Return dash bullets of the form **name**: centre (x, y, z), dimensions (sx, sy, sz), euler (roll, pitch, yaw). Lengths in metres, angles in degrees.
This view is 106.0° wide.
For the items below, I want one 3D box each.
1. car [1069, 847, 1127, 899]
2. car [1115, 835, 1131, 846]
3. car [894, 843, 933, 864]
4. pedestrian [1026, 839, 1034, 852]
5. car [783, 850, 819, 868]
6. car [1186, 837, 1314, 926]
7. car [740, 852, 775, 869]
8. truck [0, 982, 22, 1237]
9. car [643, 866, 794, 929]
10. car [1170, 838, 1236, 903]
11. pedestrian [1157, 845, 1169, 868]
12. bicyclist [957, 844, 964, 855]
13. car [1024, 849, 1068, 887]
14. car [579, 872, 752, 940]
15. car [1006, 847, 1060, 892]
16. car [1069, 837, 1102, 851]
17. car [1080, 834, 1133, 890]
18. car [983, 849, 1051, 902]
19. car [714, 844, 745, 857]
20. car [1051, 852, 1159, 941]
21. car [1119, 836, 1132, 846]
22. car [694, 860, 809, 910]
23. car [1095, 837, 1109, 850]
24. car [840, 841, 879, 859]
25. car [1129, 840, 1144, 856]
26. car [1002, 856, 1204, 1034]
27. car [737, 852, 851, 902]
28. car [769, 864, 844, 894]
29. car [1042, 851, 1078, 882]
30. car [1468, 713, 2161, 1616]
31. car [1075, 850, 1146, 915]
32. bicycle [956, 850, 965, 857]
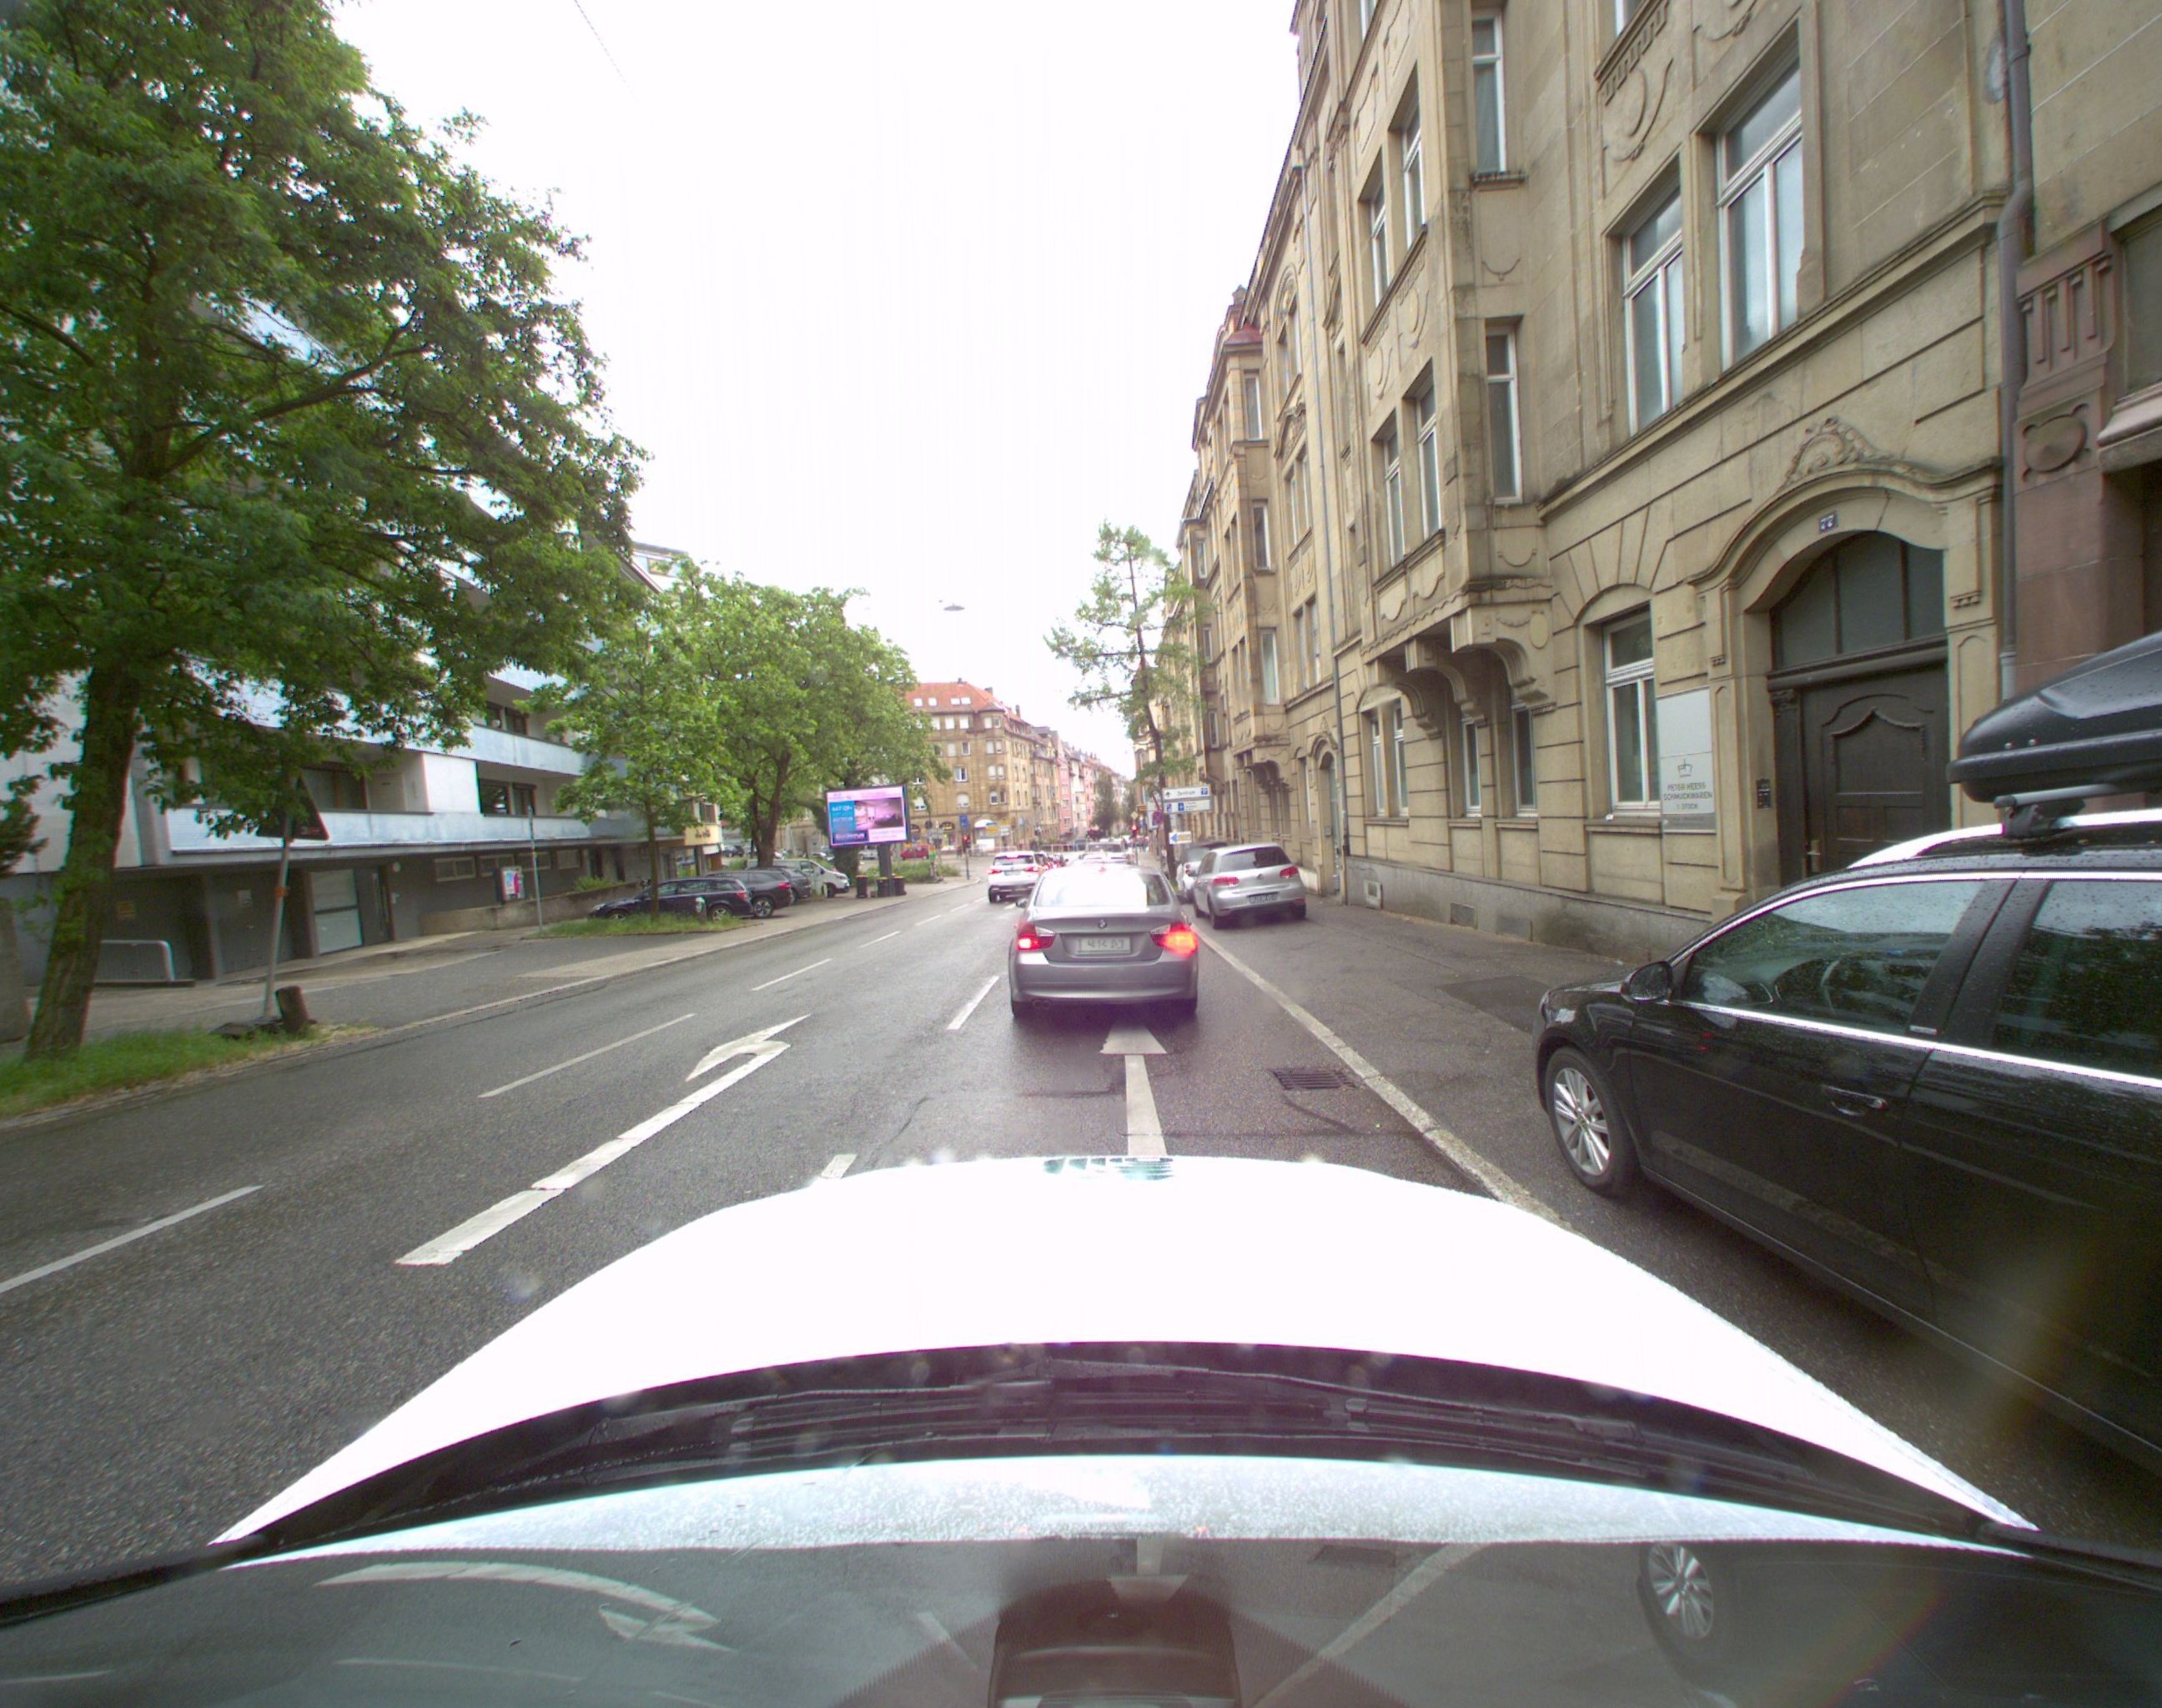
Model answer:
- **car**: centre (0.631, 0.589, 27.532), dimensions (1.752, 1.567, 4.003), euler (-2, 0, 3)
- **car**: centre (6.223, -2.003, 120.812), dimensions (1.983, 1.578, 4.008), euler (0, -1, 7)
- **car**: centre (-18.914, -0.044, 91.867), dimensions (3.982, 2.013, 1.996), euler (-4, 0, -6)
- **pedestrian**: centre (-6.343, -1.070, 101.552), dimensions (0.727, 1.577, 0.530), euler (-3, 0, 10)
- **car**: centre (-35.228, 0.624, 102.467), dimensions (4.238, 2.101, 2.013), euler (0, 2, 30)
- **car**: centre (3.236, 0.466, 16.351), dimensions (1.753, 1.451, 4.001), euler (-4, 0, 1)
- **car**: centre (-42.032, 0.799, 105.898), dimensions (4.238, 2.101, 2.013), euler (0, 2, 30)
- **truck**: centre (-6.121, 0.954, 1.230), dimensions (2.063, 1.835, 5.156), euler (-5, 0, 2)
- **car**: centre (-12.020, 1.393, 27.331), dimensions (4.382, 1.672, 1.842), euler (-4, 0, -21)
- **car**: centre (3.345, 0.433, 22.709), dimensions (1.295, 1.543, 2.977), euler (-7, 0, 1)
- **pedestrian**: centre (5.665, 0.140, 56.320), dimensions (0.629, 1.508, 0.693), euler (-7, 0, 1)
- **bicyclist**: centre (-14.400, -0.569, 97.057), dimensions (0.565, 1.273, 0.692), euler (-1, -1, 13)
- **car**: centre (-1.695, 0.643, 40.512), dimensions (1.752, 1.707, 4.003), euler (-2, 0, 3)
- **car**: centre (-12.319, 1.485, 24.510), dimensions (4.375, 1.574, 1.929), euler (-4, 0, -23)
- **car**: centre (-1.919, 0.590, 33.937), dimensions (1.752, 1.707, 4.003), euler (-2, 0, 3)
- **car**: centre (0.735, -1.582, 130.102), dimensions (5.158, 2.014, 2.699), euler (0, -1, 1)
- **car**: centre (1.051, 0.315, 33.605), dimensions (1.986, 2.106, 4.002), euler (-2, 0, 2)
- **car**: centre (-2.114, 0.684, 28.087), dimensions (1.861, 1.625, 4.001), euler (-2, 0, 1)
- **car**: centre (-47.070, -0.501, 109.164), dimensions (3.949, 1.689, 1.738), euler (-1, -1, 29)
- **car**: centre (0.499, 0.706, 15.458), dimensions (1.752, 1.383, 4.003), euler (-2, 0, 3)
- **car**: centre (5.434, -1.554, 99.293), dimensions (1.429, 1.174, 3.435), euler (0, 0, 1)
- **car**: centre (-13.915, 1.285, 34.692), dimensions (4.370, 1.784, 1.927), euler (-3, 0, -19)
- **car**: centre (2.698, -1.326, 104.935), dimensions (1.709, 1.450, 3.743), euler (-3, 0, 1)
- **car**: centre (-26.558, -0.481, 97.535), dimensions (4.238, 2.101, 2.013), euler (0, 2, 30)
- **car**: centre (7.363, -0.839, 108.764), dimensions (1.679, 2.013, 4.002), euler (-4, 0, 2)
- **car**: centre (0.273, 0.759, 8.530), dimensions (1.617, 1.383, 3.618), euler (-2, 0, 3)
- **car**: centre (-14.019, 1.115, 39.986), dimensions (5.076, 2.105, 1.979), euler (-3, 0, -19)
- **car**: centre (-15.953, 1.425, 47.372), dimensions (3.985, 1.450, 1.758), euler (-3, 0, -19)
- **car**: centre (-1.201, 0.696, 48.045), dimensions (1.752, 1.707, 4.003), euler (-2, 0, 3)
- **car**: centre (2.779, 0.471, 1.915), dimensions (1.753, 1.651, 4.101), euler (-7, 0, 2)
- **car**: centre (0.794, 0.651, 20.981), dimensions (1.588, 1.464, 4.003), euler (-2, 0, 3)
- **bicycle**: centre (-14.411, -0.046, 97.072), dimensions (0.570, 0.858, 1.526), euler (-1, -1, 11)
